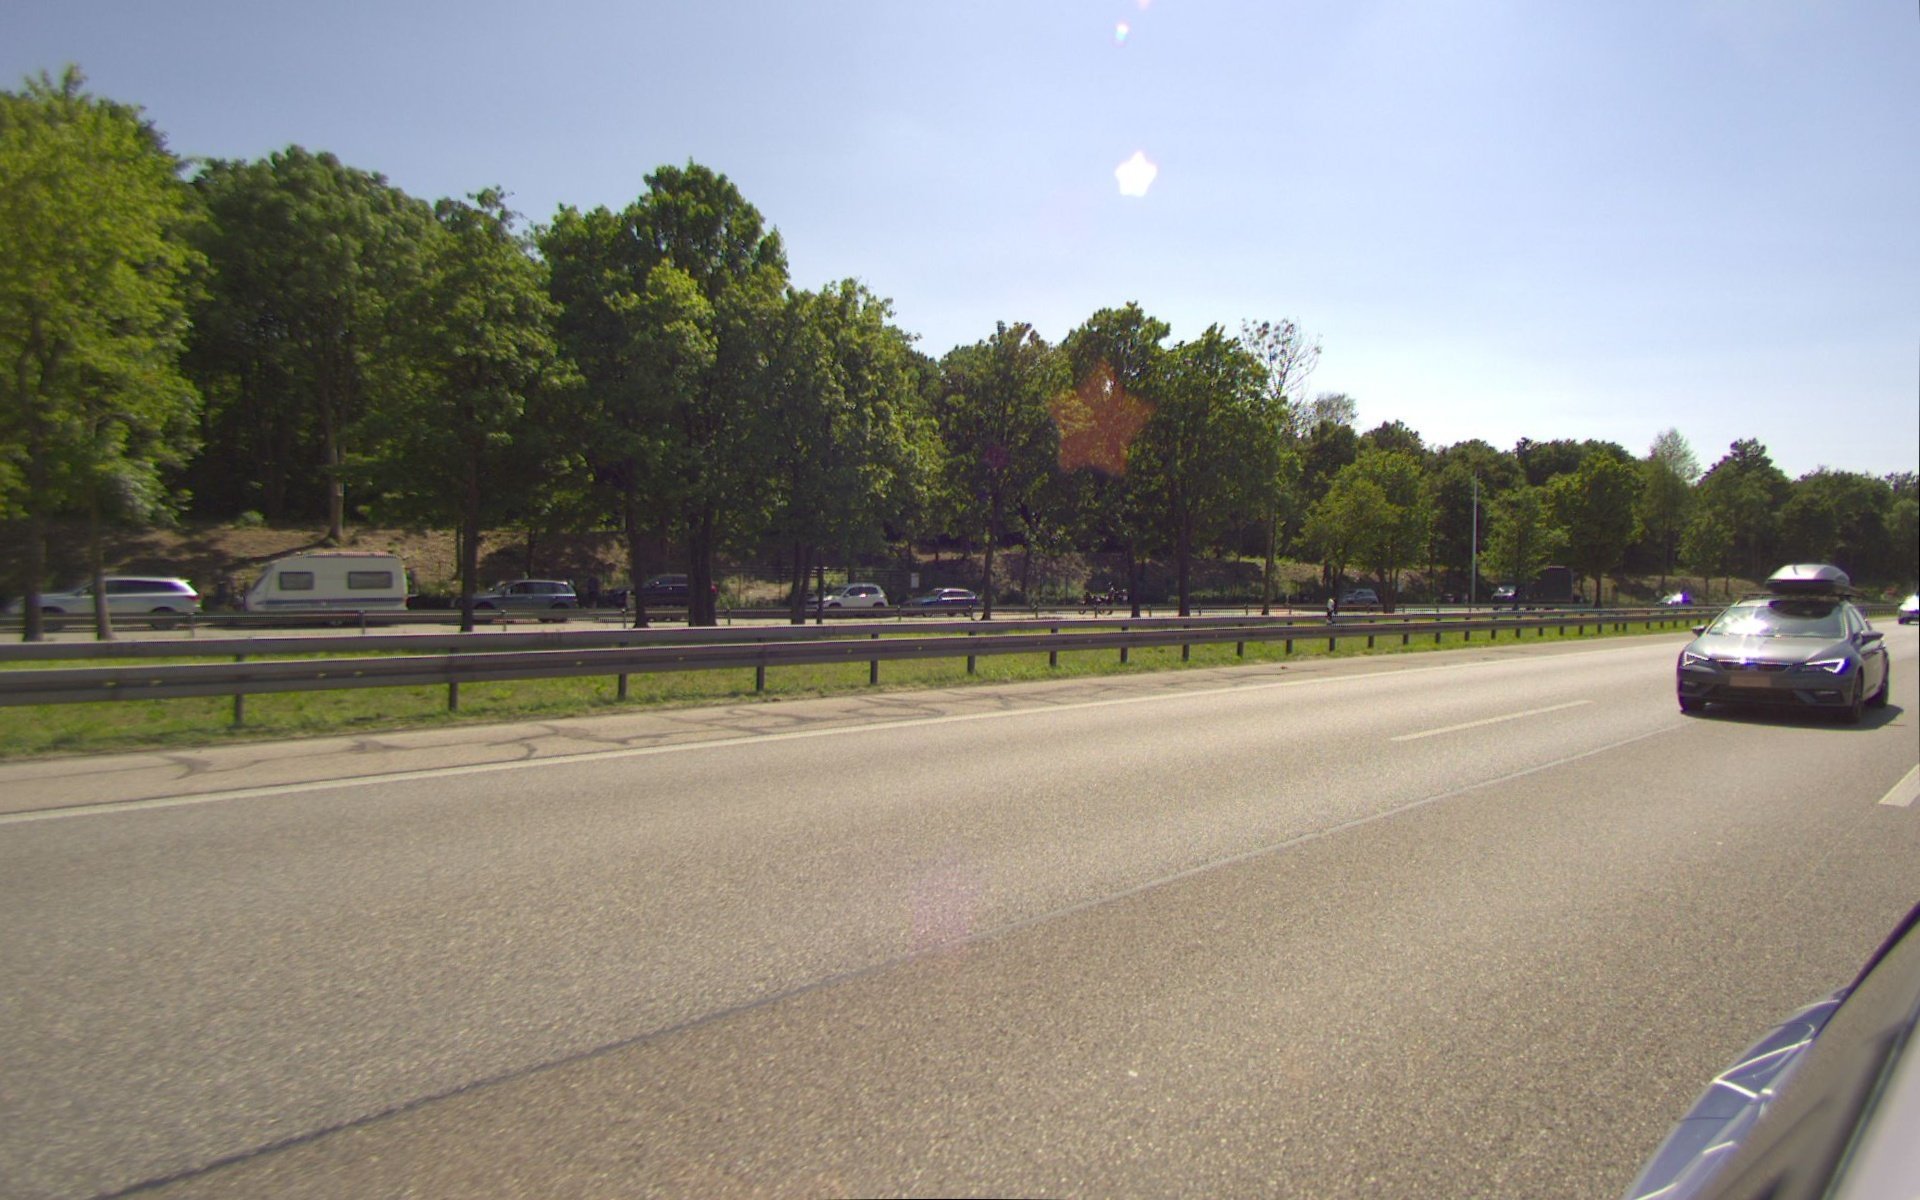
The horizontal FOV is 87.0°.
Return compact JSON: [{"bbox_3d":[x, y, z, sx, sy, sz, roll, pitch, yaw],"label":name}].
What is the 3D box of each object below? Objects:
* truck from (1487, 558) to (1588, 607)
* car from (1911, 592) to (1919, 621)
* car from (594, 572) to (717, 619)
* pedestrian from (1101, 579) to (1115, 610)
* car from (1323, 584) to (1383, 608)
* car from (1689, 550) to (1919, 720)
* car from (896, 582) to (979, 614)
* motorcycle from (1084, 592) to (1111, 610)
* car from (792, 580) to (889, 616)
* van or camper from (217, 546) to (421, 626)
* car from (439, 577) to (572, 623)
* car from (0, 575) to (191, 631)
[{"bbox_3d":[49.975,-1.483,87.499,9.162,3.996,3.301,1,1,-29],"label":"truck"},{"bbox_3d":[55.317,0.354,57.162,3.963,1.588,1.847,0,0,-39],"label":"car"},{"bbox_3d":[-12.839,-0.218,42.810,4.710,1.900,1.661,0,1,-36],"label":"car"},{"bbox_3d":[8.846,-0.315,60.347,0.788,1.804,0.641,1,1,11],"label":"pedestrian"},{"bbox_3d":[29.330,-0.298,75.470,4.232,1.671,2.002,0,2,-32],"label":"car"},{"bbox_3d":[11.427,0.362,13.555,4.744,1.899,1.668,0,2,-42],"label":"car"},{"bbox_3d":[-1.170,-0.112,53.292,3.921,1.593,2.002,0,1,-32],"label":"car"},{"bbox_3d":[8.251,0.065,60.710,1.641,1.043,0.560,0,1,-35],"label":"motorcycle"},{"bbox_3d":[-5.828,-0.129,49.573,4.568,1.696,1.660,0,1,-39],"label":"car"},{"bbox_3d":[-22.173,-0.489,35.156,5.772,2.562,2.208,0,1,-41],"label":"van or camper"},{"bbox_3d":[-17.583,-0.038,39.269,4.417,1.662,1.659,0,1,-40],"label":"car"},{"bbox_3d":[-26.596,0.051,31.233,4.476,1.617,1.659,-1,1,-41],"label":"car"}]
